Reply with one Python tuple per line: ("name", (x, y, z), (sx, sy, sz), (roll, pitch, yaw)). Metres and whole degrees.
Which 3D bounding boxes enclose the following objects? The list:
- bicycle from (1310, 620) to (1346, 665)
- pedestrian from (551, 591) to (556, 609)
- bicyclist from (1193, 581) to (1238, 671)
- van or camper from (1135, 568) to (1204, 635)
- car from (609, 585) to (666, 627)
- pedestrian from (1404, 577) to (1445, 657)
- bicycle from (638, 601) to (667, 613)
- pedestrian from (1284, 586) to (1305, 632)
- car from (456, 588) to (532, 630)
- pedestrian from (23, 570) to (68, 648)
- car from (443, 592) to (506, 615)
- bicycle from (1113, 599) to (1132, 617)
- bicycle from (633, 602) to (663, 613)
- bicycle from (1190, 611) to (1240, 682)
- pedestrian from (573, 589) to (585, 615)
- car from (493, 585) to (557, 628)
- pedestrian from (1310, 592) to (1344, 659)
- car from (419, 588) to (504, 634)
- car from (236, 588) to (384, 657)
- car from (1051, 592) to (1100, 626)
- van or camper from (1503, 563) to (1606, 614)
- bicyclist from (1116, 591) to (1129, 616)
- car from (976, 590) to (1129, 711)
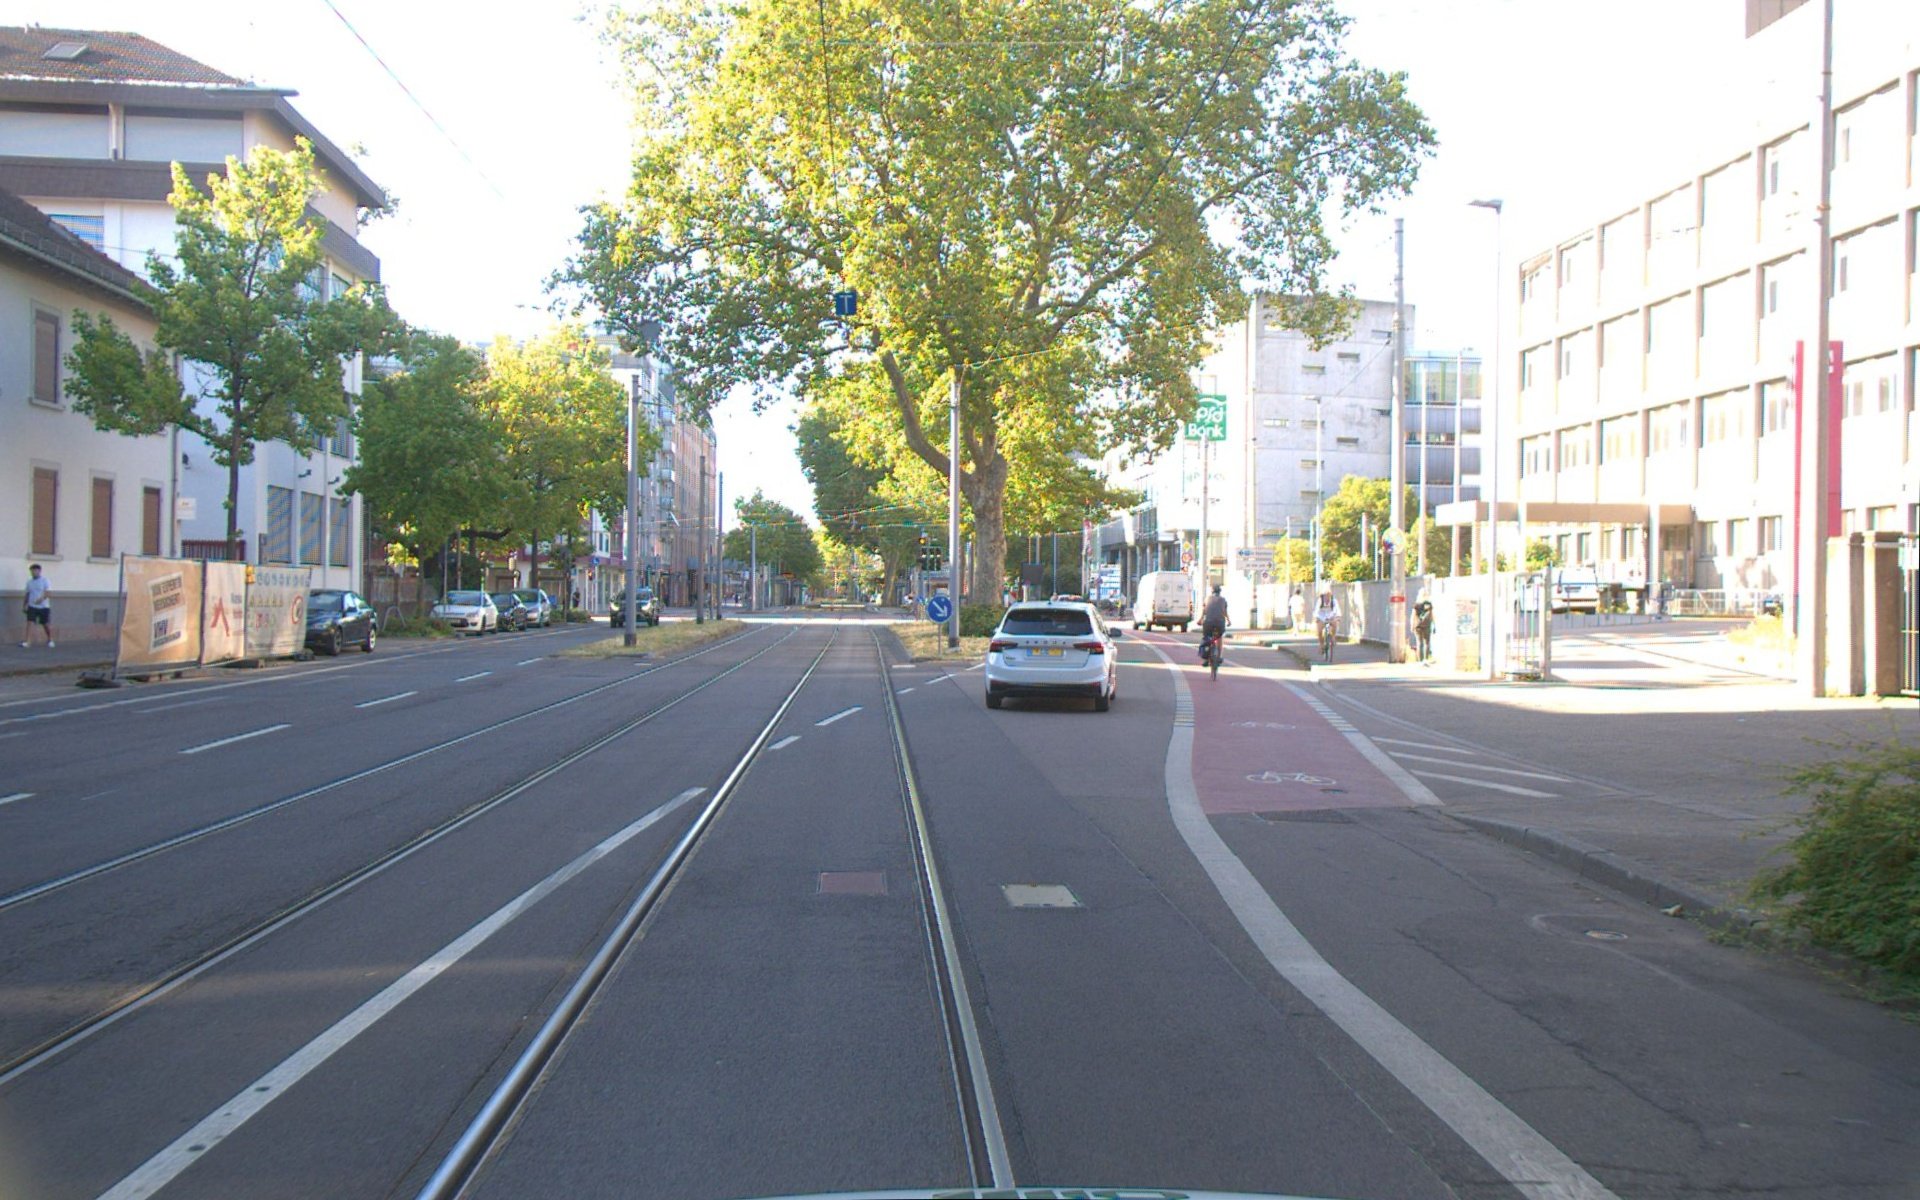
("bicycle", (9.192, 1.040, 41.338), (0.660, 1.050, 1.902), (-2, 0, 6))
("pedestrian", (-27.332, 0.009, 111.242), (0.298, 1.235, 0.318), (0, 0, -9))
("bicyclist", (4.902, 0.491, 31.766), (0.727, 1.698, 0.745), (2, 0, 4))
("van or camper", (9.452, 0.058, 75.202), (2.222, 2.781, 6.347), (3, 0, 0))
("car", (-13.655, 0.228, 70.211), (1.955, 1.719, 4.305), (0, 0, -6))
("pedestrian", (10.108, 0.360, 36.002), (0.682, 1.713, 0.929), (0, 0, 27))
("bicycle", (-22.937, 0.512, 123.360), (2.128, 0.838, 0.527), (0, 0, -7))
("pedestrian", (13.025, 0.352, 64.430), (0.769, 1.779, 0.773), (0, 0, 8))
("car", (-17.343, 0.312, 61.724), (1.955, 1.502, 4.644), (0, 0, -6))
("pedestrian", (-18.785, 0.179, 33.984), (0.582, 1.598, 0.638), (0, 0, -6))
("car", (-32.006, 0.215, 109.112), (3.921, 1.489, 1.794), (-1, 0, -16))
("bicycle", (10.922, 0.518, 111.163), (0.777, 1.182, 2.497), (0, 0, -5))
("bicycle", (-22.987, 0.541, 121.997), (2.128, 0.801, 0.491), (0, 0, -7))
("bicycle", (4.883, 0.873, 31.798), (0.728, 1.245, 2.157), (2, 1, 4))
("pedestrian", (-25.320, 0.134, 109.898), (0.695, 1.691, 1.032), (0, 0, -8))
("car", (-18.027, 0.263, 68.705), (1.955, 1.719, 4.173), (0, 0, -6))
("pedestrian", (9.186, 0.633, 41.414), (0.655, 1.647, 1.103), (-2, 0, 5))
("car", (-16.813, 0.357, 55.964), (1.955, 1.496, 4.400), (0, 0, -6))
("car", (-15.218, 0.490, 38.987), (1.955, 1.540, 4.720), (0, 0, -5))
("car", (5.381, 0.408, 77.553), (1.803, 1.515, 3.714), (0, 0, -3))
("van or camper", (23.207, -0.454, 64.798), (1.941, 1.942, 4.995), (0, 0, -5))
("bicyclist", (10.913, 0.217, 111.318), (0.770, 1.663, 0.638), (0, 0, -6))
("car", (1.396, 0.656, 23.438), (1.763, 1.527, 3.984), (1, 0, 9))
